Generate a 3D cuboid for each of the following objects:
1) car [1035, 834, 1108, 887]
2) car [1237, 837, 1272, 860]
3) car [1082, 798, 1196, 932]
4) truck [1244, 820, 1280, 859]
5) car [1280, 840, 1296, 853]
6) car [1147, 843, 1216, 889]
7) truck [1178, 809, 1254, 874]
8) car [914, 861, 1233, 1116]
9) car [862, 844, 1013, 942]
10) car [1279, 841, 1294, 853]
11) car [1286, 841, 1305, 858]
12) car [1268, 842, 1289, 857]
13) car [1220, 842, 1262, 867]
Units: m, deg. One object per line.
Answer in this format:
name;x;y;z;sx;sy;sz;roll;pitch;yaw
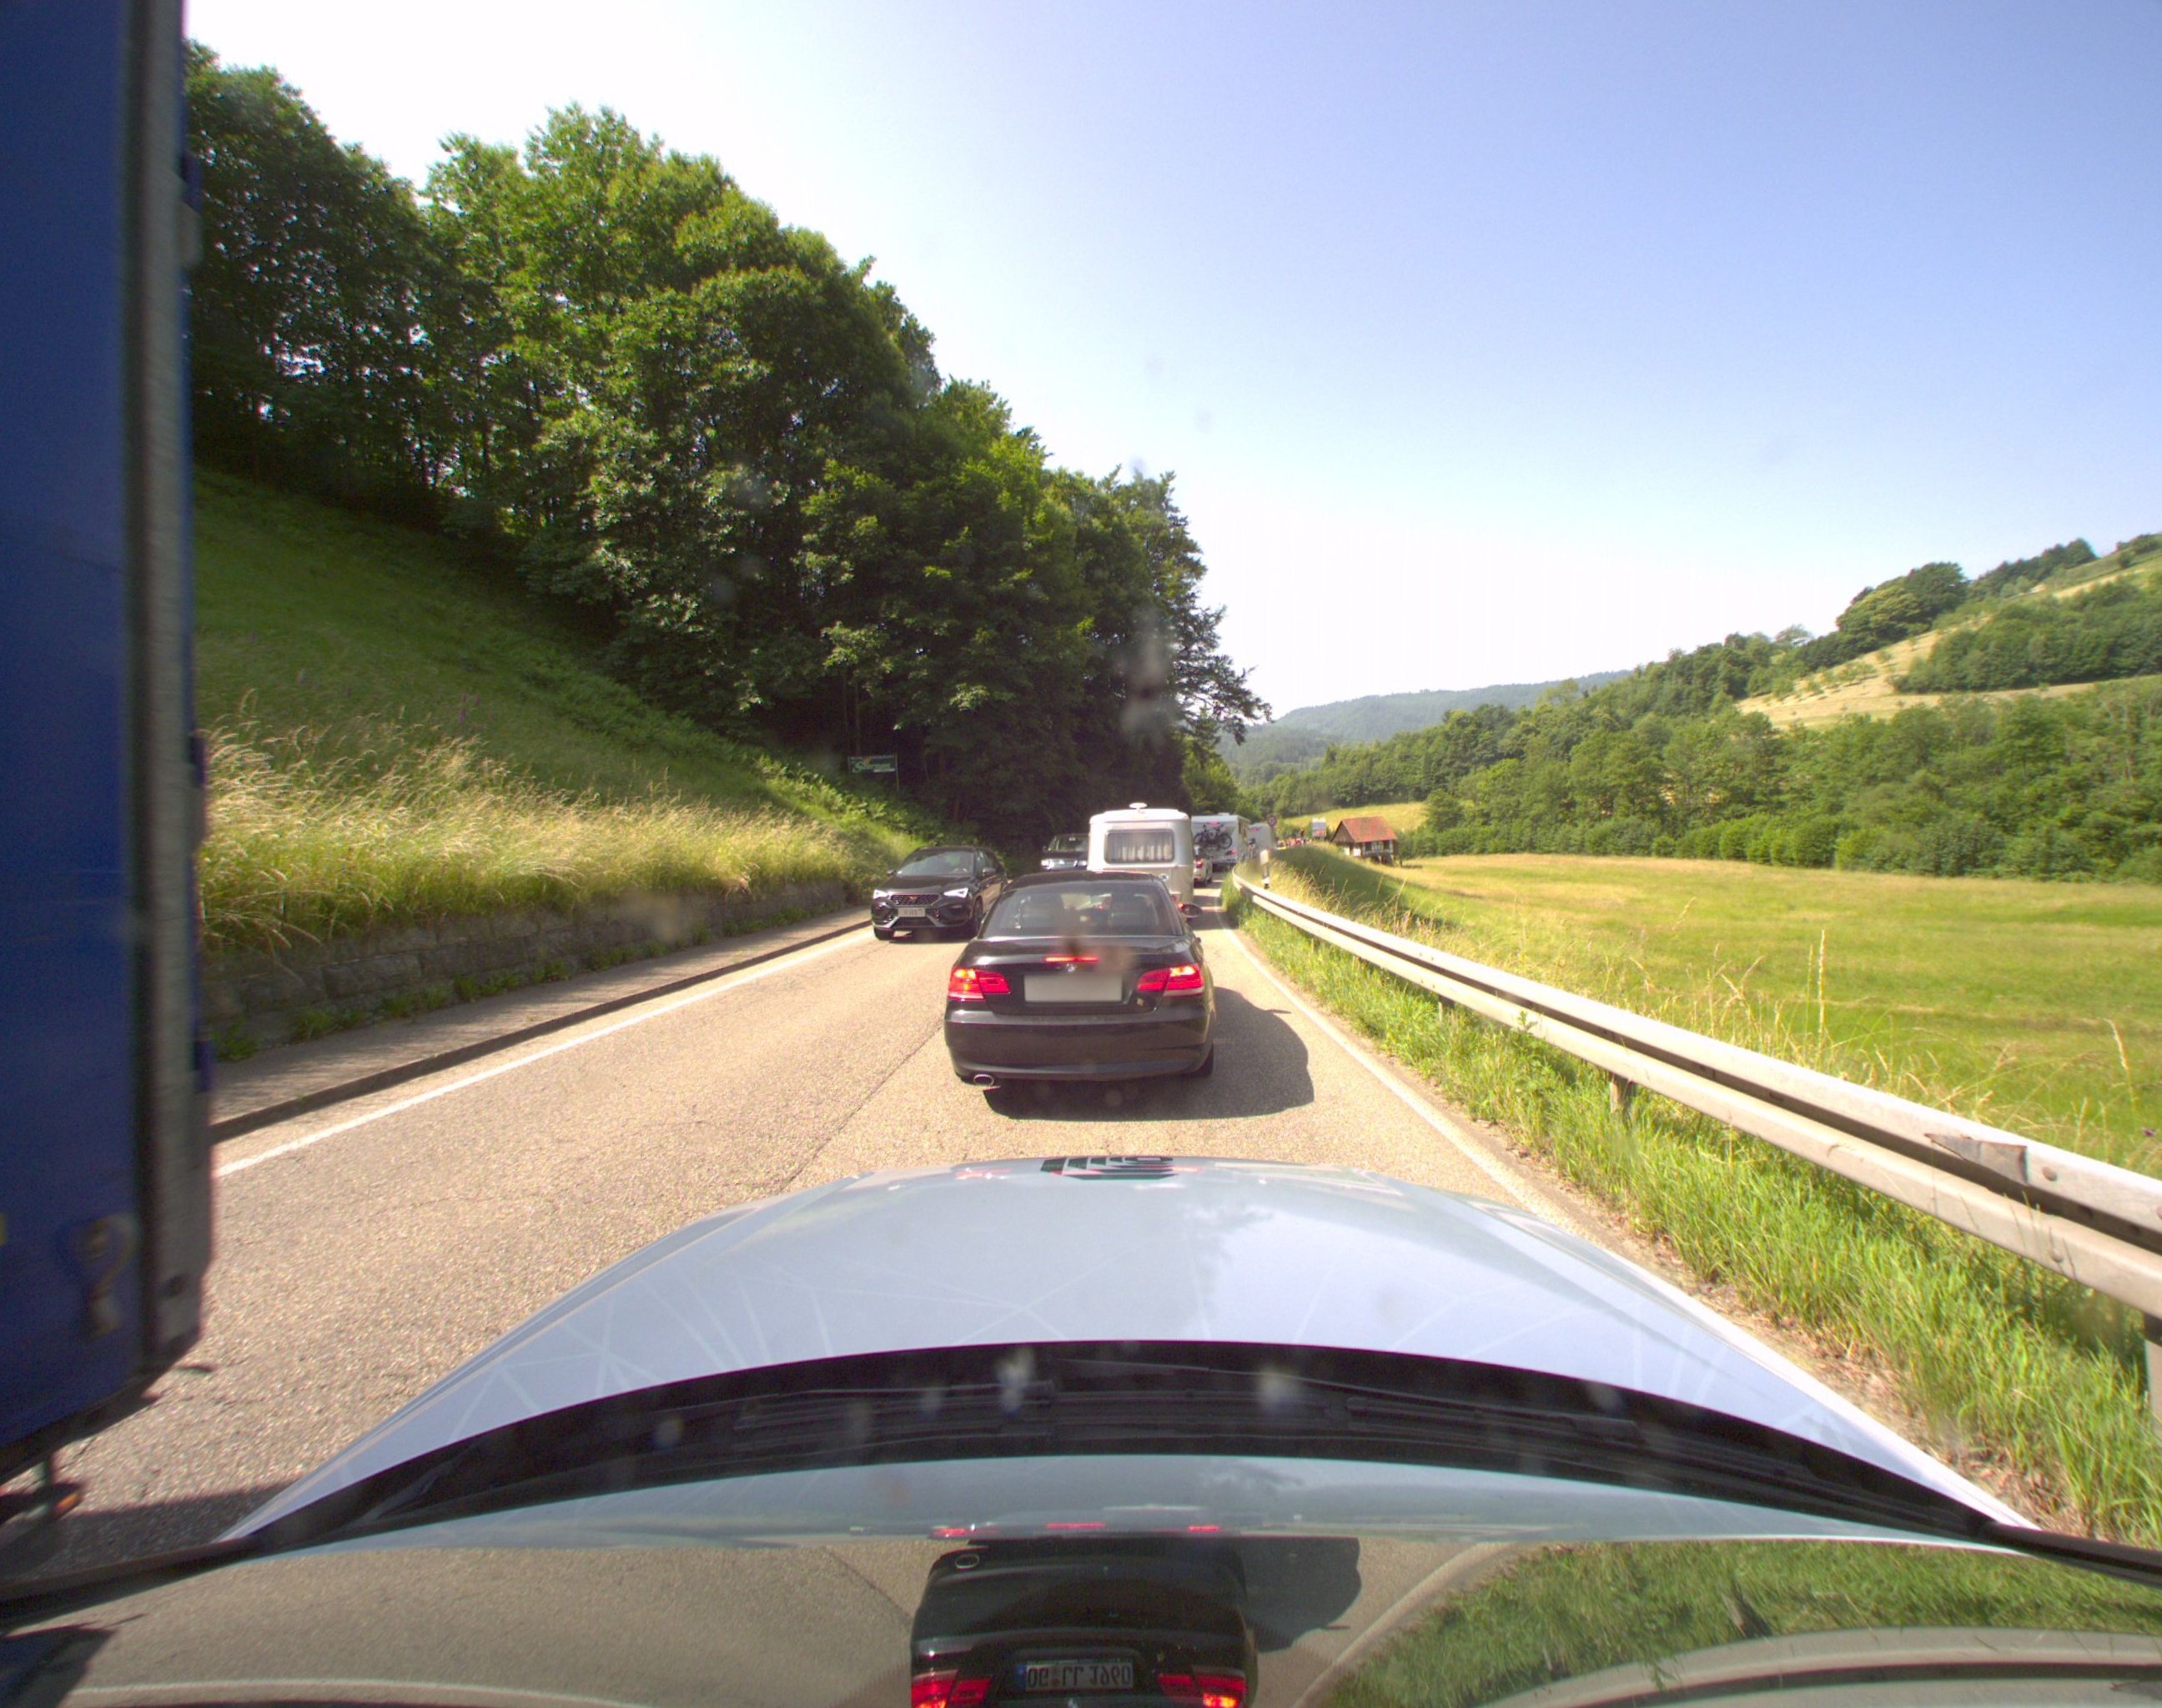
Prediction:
car;-0.249;0.195;30.232;1.907;1.827;4.503;0;1;10
car;12.046;-0.405;56.348;1.772;1.464;4.021;1;2;20
car;1.327;0.169;16.880;1.983;2.353;4.924;-1;1;7
truck;13.960;-1.030;62.635;2.220;2.804;6.260;-1;0;17
car;28.322;-1.009;111.413;1.979;1.575;4.016;0;0;15
car;3.667;0.367;29.156;1.979;1.484;4.015;1;1;13
truck;6.982;-0.672;41.285;2.768;2.997;6.901;1;2;18
car;0.107;0.768;6.418;1.763;1.335;3.772;-1;0;5
car;-2.535;0.616;15.417;1.813;1.584;4.088;-1;1;4
car;30.594;-0.964;121.038;1.978;1.684;4.018;0;-1;17
car;24.765;-0.509;93.954;1.979;1.925;4.016;2;0;15
car;20.601;-0.435;84.806;1.892;1.486;4.018;0;0;17
car;9.989;-0.010;50.717;1.977;1.464;4.020;1;2;19
